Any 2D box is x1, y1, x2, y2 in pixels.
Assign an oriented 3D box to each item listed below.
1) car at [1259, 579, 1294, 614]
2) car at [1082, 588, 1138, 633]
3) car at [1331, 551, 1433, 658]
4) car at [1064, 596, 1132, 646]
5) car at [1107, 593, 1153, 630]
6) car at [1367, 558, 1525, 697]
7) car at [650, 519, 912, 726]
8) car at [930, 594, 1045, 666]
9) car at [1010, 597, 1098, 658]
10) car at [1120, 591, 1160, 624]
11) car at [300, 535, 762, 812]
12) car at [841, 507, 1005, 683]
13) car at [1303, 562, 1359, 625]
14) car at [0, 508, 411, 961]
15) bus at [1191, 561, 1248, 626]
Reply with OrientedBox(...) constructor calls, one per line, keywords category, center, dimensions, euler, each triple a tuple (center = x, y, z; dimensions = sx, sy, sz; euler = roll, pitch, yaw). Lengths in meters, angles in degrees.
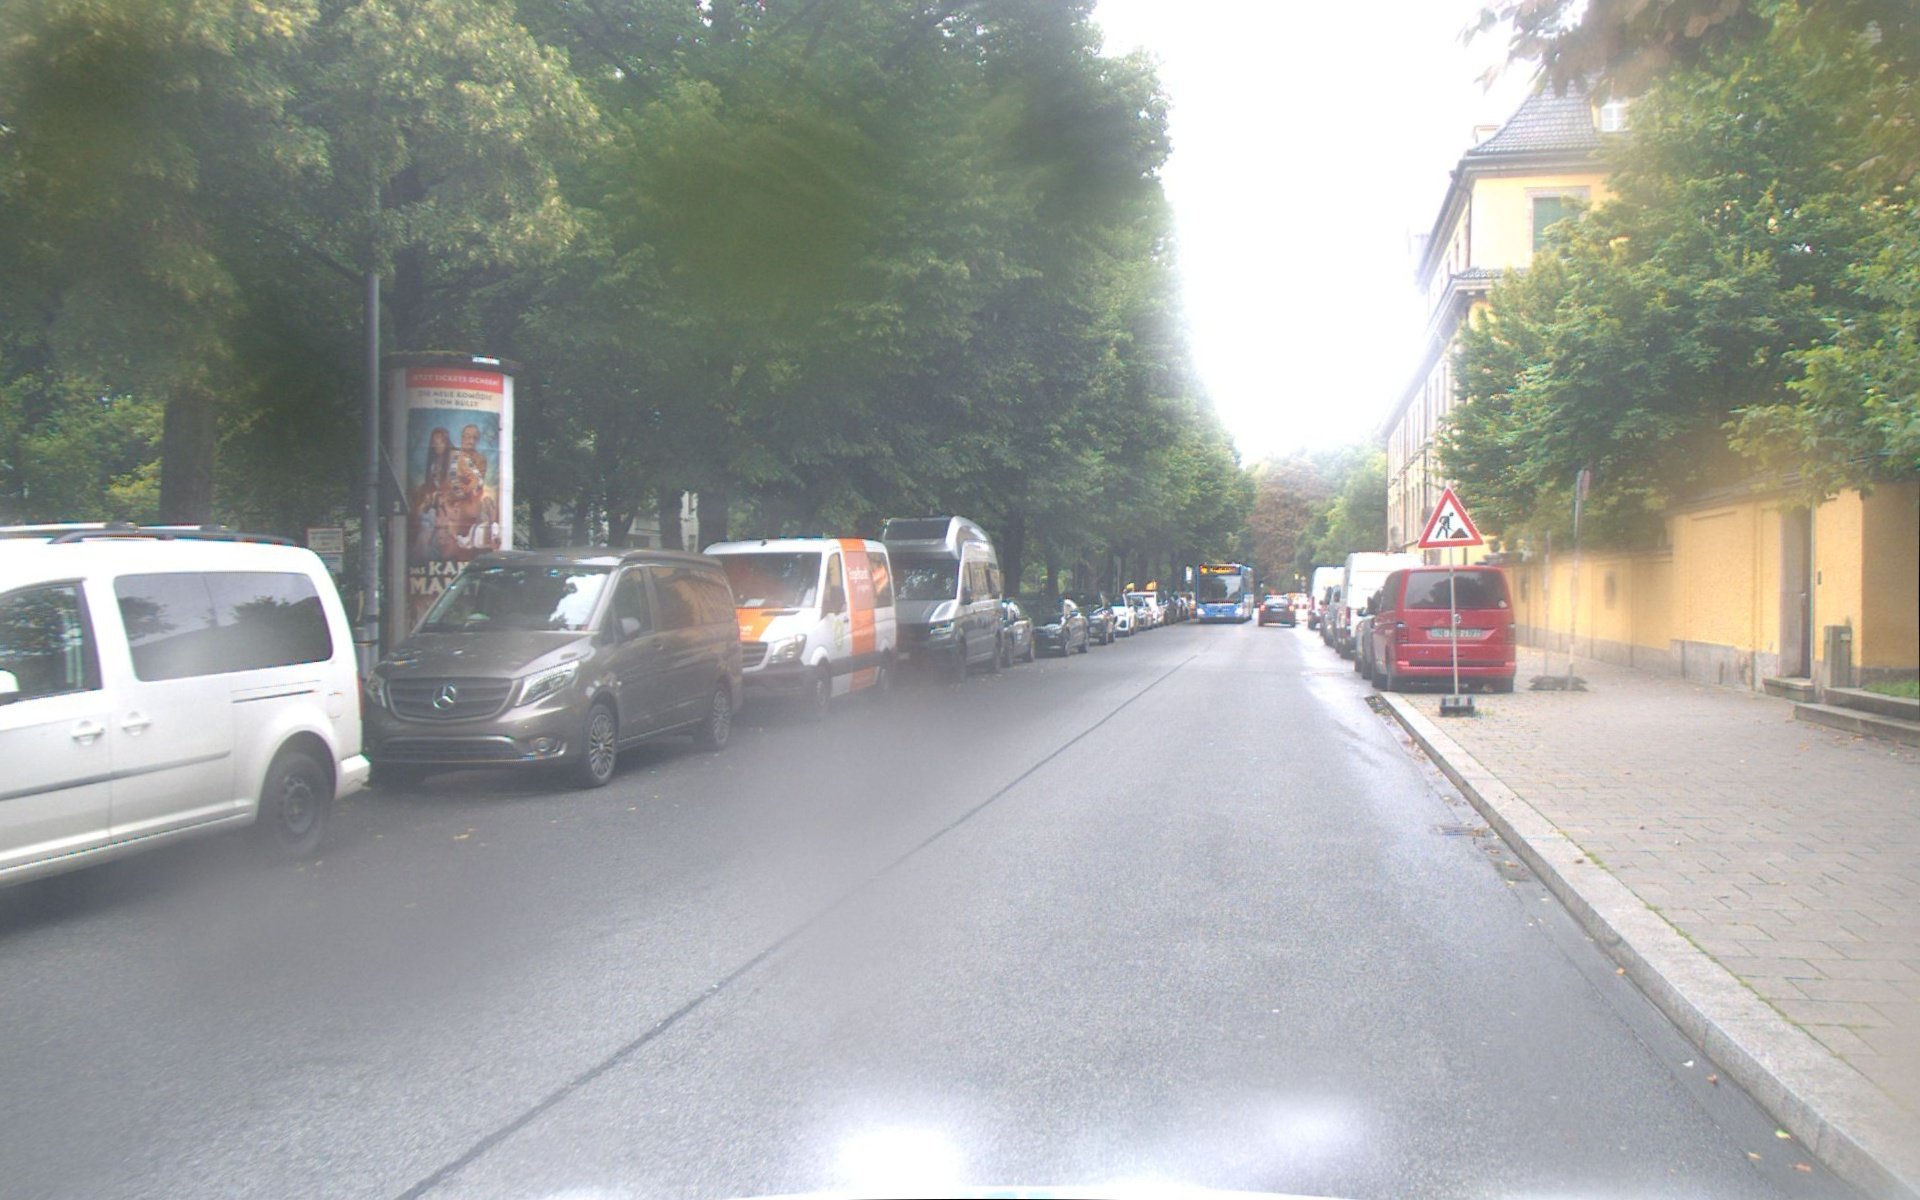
OrientedBox(category="car", center=(15.009, -0.165, 78.308), dimensions=(1.543, 1.611, 4.047), euler=(0, 0, 12))
OrientedBox(category="car", center=(5.623, 0.386, 61.765), dimensions=(1.746, 1.625, 4.588), euler=(0, 0, 9))
OrientedBox(category="car", center=(10.656, 0.139, 42.127), dimensions=(2.050, 2.531, 5.744), euler=(0, -1, 10))
OrientedBox(category="car", center=(4.301, 0.661, 51.057), dimensions=(1.752, 1.479, 3.952), euler=(0, -1, 10))
OrientedBox(category="car", center=(7.013, 0.471, 67.888), dimensions=(1.636, 1.495, 4.107), euler=(0, 0, 9))
OrientedBox(category="car", center=(7.703, 0.429, 26.678), dimensions=(1.819, 2.002, 5.449), euler=(0, -1, 10))
OrientedBox(category="car", center=(-2.171, 0.294, 21.949), dimensions=(2.069, 2.390, 5.412), euler=(0, -1, 9))
OrientedBox(category="car", center=(0.687, 0.619, 36.867), dimensions=(1.751, 1.463, 4.582), euler=(0, 1, 12))
OrientedBox(category="car", center=(2.437, 0.696, 41.923), dimensions=(1.752, 1.463, 4.555), euler=(0, -1, 10))
OrientedBox(category="car", center=(8.422, 0.367, 77.245), dimensions=(1.636, 1.495, 4.107), euler=(0, 0, 9))
OrientedBox(category="car", center=(-3.481, 0.531, 14.779), dimensions=(1.903, 1.998, 5.464), euler=(-1, 0, 9))
OrientedBox(category="car", center=(-0.536, -0.039, 30.481), dimensions=(1.903, 2.904, 6.241), euler=(0, -1, 9))
OrientedBox(category="car", center=(16.628, -0.263, 74.400), dimensions=(2.010, 2.720, 7.620), euler=(0, 0, 9))
OrientedBox(category="car", center=(-4.898, 0.593, 8.165), dimensions=(1.840, 1.971, 4.837), euler=(-1, 0, 14))
OrientedBox(category="bus", center=(14.761, -0.210, 93.105), dimensions=(2.798, 3.296, 18.441), euler=(0, -1, 10))
